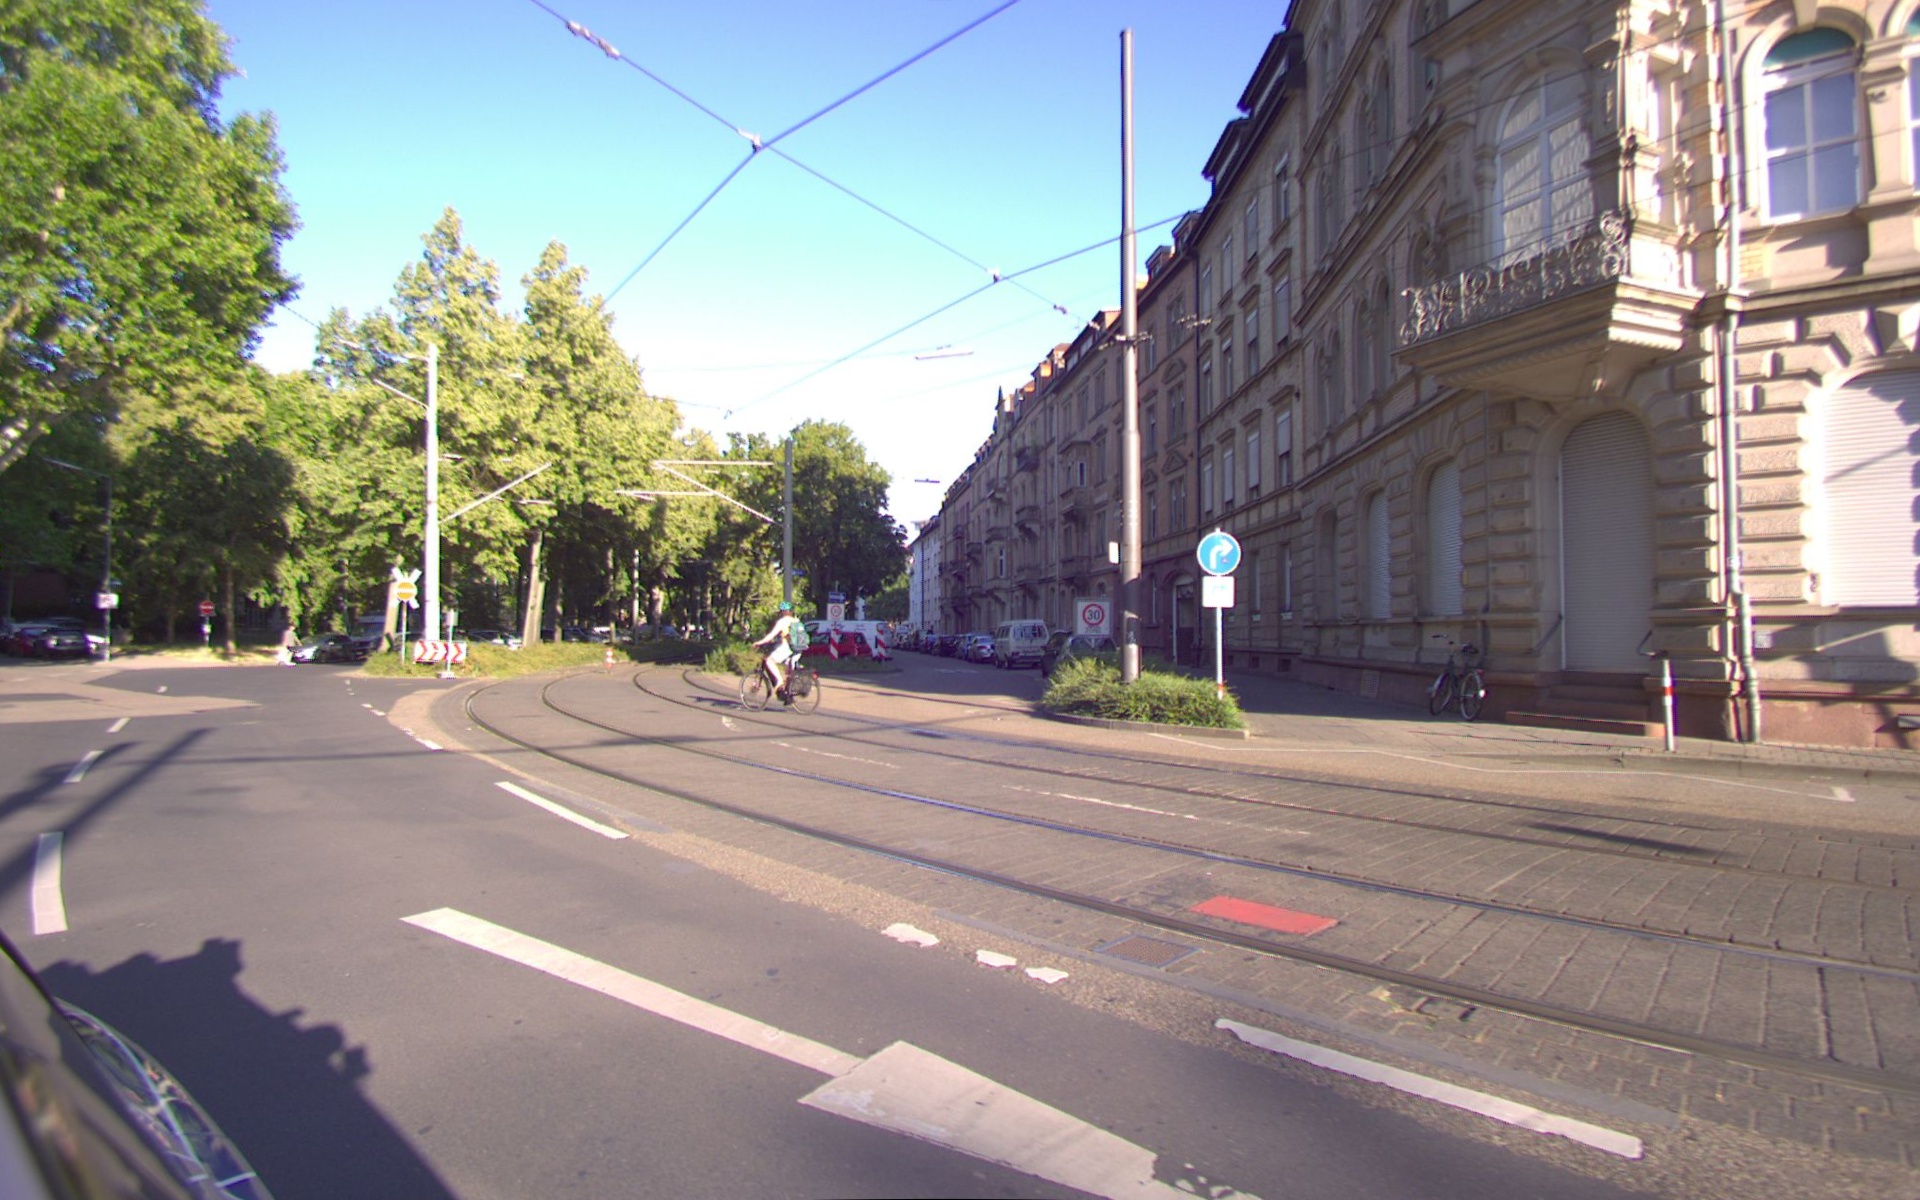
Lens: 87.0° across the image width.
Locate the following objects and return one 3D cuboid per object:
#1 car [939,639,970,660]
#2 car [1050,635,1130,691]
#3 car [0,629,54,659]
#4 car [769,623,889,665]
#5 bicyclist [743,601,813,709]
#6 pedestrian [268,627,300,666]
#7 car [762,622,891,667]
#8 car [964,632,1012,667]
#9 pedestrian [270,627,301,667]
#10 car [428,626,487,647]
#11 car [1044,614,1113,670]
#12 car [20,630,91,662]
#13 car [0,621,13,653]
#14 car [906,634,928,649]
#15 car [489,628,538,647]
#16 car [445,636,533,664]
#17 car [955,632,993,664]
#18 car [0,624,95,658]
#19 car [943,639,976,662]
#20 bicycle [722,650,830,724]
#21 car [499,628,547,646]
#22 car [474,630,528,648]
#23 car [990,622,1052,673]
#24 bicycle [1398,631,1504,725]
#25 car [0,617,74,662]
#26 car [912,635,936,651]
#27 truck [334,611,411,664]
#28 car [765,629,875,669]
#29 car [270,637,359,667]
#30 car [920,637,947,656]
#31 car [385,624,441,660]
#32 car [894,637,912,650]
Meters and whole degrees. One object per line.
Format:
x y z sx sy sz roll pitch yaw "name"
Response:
-0.422 3.355 68.357 1.714 1.364 3.693 0 -2 -6 "car"
3.454 1.677 27.479 1.714 1.425 3.433 0 -2 0 "car"
-47.059 2.218 50.835 3.918 1.460 1.516 -2 -3 36 "car"
-5.850 1.957 45.535 5.008 1.823 1.991 -1 -2 13 "car"
-3.083 0.920 17.152 1.058 1.776 0.600 -2 -3 35 "bicyclist"
-31.317 2.145 46.897 0.825 1.781 0.881 -1 -2 25 "pedestrian"
-5.555 1.863 42.356 5.008 1.802 1.991 -1 -2 13 "car"
1.375 2.534 51.891 1.970 1.718 4.268 0 -2 -5 "car"
-30.710 2.138 46.087 0.825 1.781 0.881 -1 -2 25 "pedestrian"
-42.731 3.112 86.026 4.407 1.763 1.988 -1 -2 19 "car"
3.724 1.331 32.291 1.714 1.674 3.999 0 -2 0 "car"
-42.497 2.157 47.544 3.624 1.460 1.720 -2 -3 36 "car"
-57.695 2.167 59.658 4.216 1.871 1.751 -2 -3 33 "car"
-3.883 3.744 91.057 1.714 1.364 3.693 0 -2 -6 "car"
-43.130 3.644 97.800 3.957 1.763 1.878 -1 -2 11 "car"
-23.595 2.507 50.721 3.645 1.364 1.736 0 -2 8 "car"
0.751 2.731 58.033 1.815 1.718 3.692 0 -2 -5 "car"
-49.860 2.227 55.123 1.530 1.775 3.883 -1 -3 32 "car"
-0.073 3.080 62.175 1.715 1.364 3.692 0 -2 -5 "car"
-3.139 1.443 17.179 1.947 1.184 0.604 -2 -3 35 "bicycle"
-43.384 3.647 100.533 3.957 1.763 1.878 -1 -2 11 "car"
-43.087 3.658 95.100 4.312 1.719 1.992 -1 -2 12 "car"
2.516 1.992 42.973 1.970 2.029 4.640 0 -2 -5 "car"
7.282 1.112 15.151 0.638 1.276 2.681 0 -2 9 "bicycle"
-52.062 2.197 56.300 1.530 2.424 3.883 -2 -3 32 "car"
-3.040 3.632 85.355 1.714 1.364 3.693 0 -2 -6 "car"
-32.530 2.071 56.168 1.968 2.804 4.892 0 -2 -8 "truck"
-5.516 1.909 40.029 3.960 1.519 1.861 -1 -2 13 "car"
-32.212 2.580 50.621 1.923 1.409 4.000 0 -2 -1 "car"
-1.985 3.453 75.799 1.714 1.364 3.693 0 -2 -6 "car"
-33.022 2.522 61.228 1.762 2.095 4.008 0 -2 -9 "car"
-6.014 4.517 106.240 1.714 1.364 3.693 0 -2 -6 "car"
